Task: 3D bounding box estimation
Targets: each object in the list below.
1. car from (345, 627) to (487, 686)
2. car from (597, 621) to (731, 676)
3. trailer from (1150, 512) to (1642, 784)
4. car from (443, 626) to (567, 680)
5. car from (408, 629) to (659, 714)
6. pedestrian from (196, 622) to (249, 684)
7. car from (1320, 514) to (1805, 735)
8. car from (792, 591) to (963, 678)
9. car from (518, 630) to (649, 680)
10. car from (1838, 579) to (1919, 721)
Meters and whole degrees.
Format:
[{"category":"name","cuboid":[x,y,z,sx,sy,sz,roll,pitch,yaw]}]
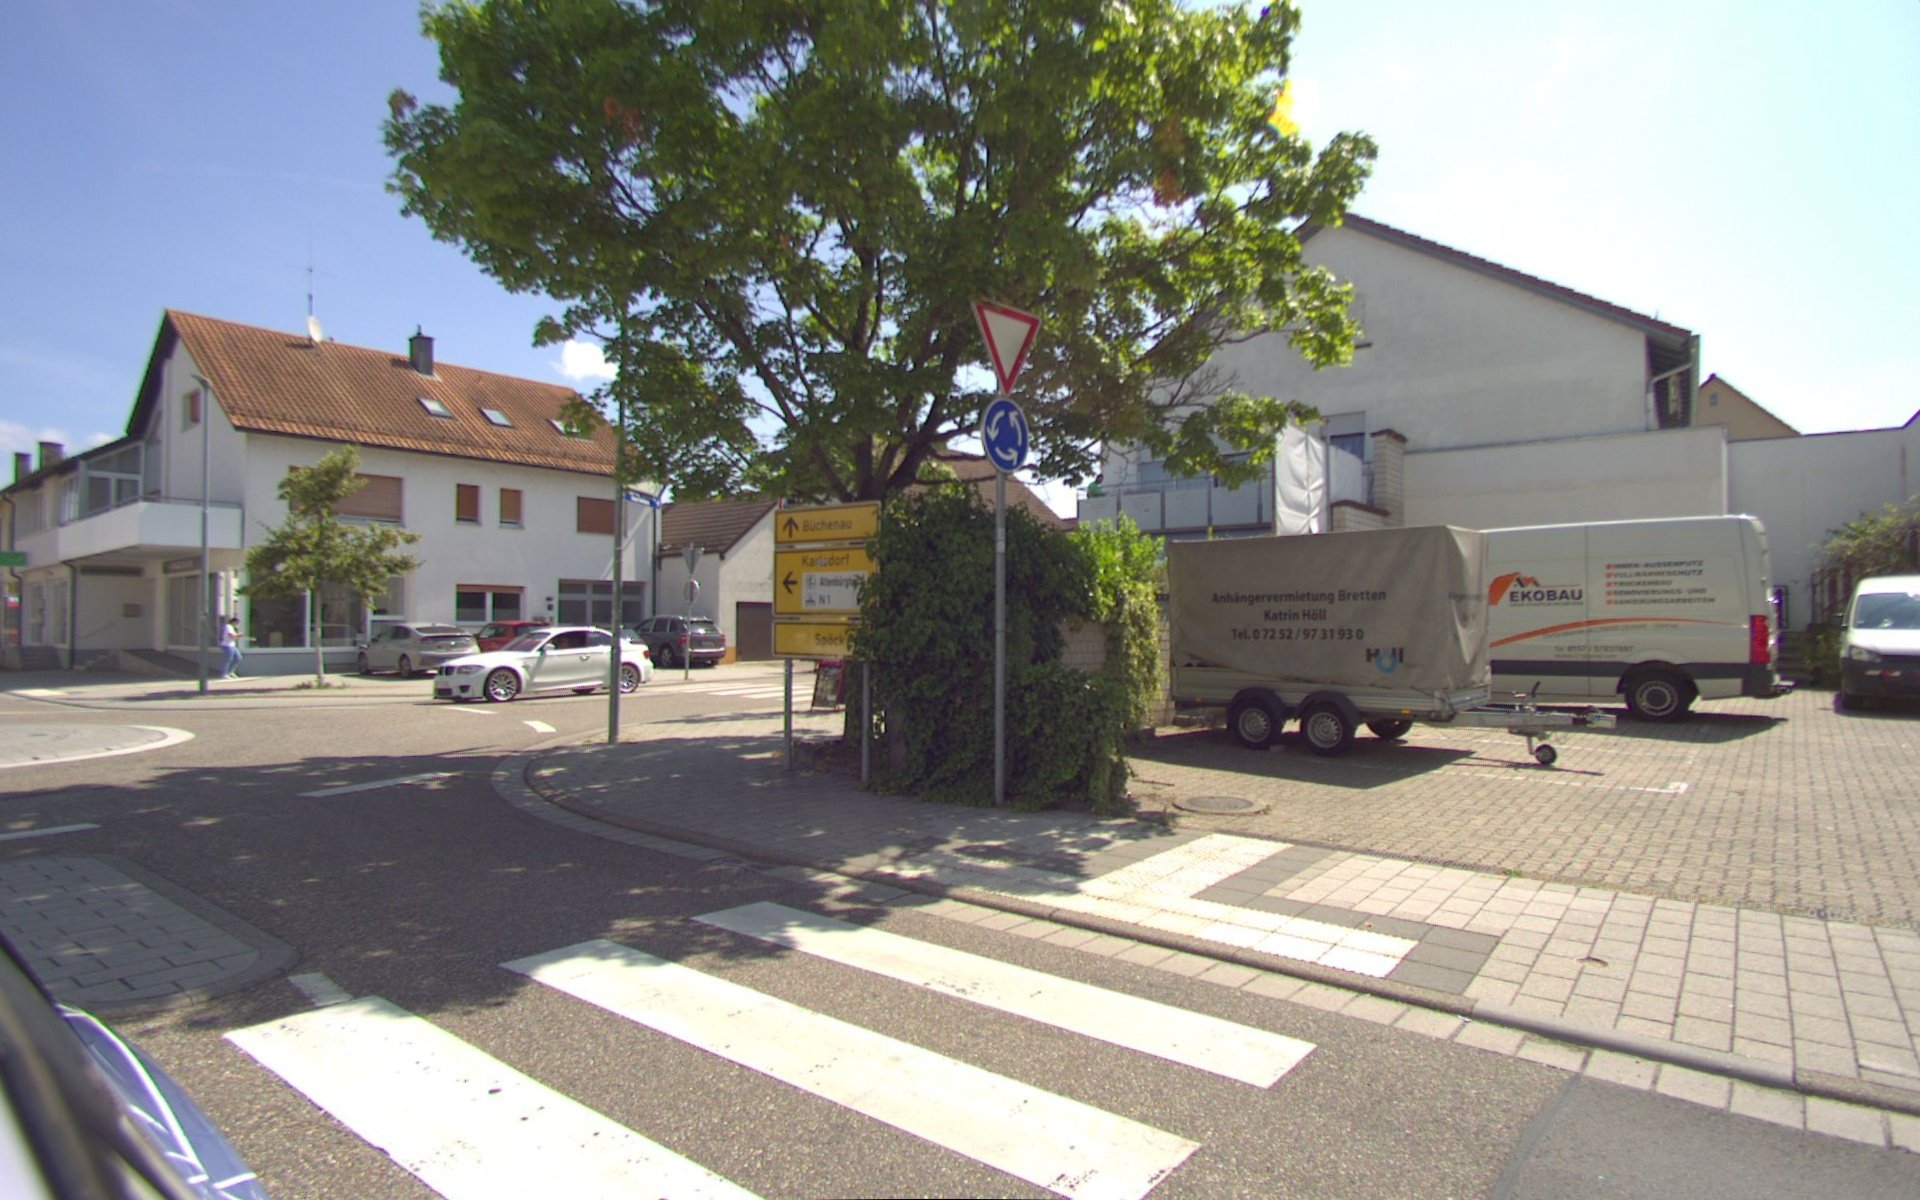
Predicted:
[{"category":"car","cuboid":[-15.014,1.491,27.838,4.473,1.462,1.812,-1,-2,38]},{"category":"car","cuboid":[-10.058,1.587,34.223,4.743,1.753,1.962,-1,-2,38]},{"category":"trailer","cuboid":[4.531,0.466,10.939,4.519,2.353,1.860,-2,-1,40]},{"category":"car","cuboid":[-13.541,1.519,30.054,3.959,1.488,1.730,-1,-2,38]},{"category":"car","cuboid":[-8.457,1.379,20.374,1.878,1.460,4.279,-4,-3,38]},{"category":"pedestrian","cuboid":[-19.373,1.379,26.591,0.950,1.595,0.752,-1,0,23]},{"category":"car","cuboid":[8.294,0.344,14.404,5.642,2.586,1.917,-2,-1,40]},{"category":"car","cuboid":[-2.574,1.165,32.950,2.113,2.592,5.603,-3,-4,43]},{"category":"car","cuboid":[-11.876,1.673,31.807,4.473,1.462,1.812,-1,-2,38]},{"category":"car","cuboid":[13.635,0.610,14.163,1.904,1.772,4.521,-1,0,40]}]
